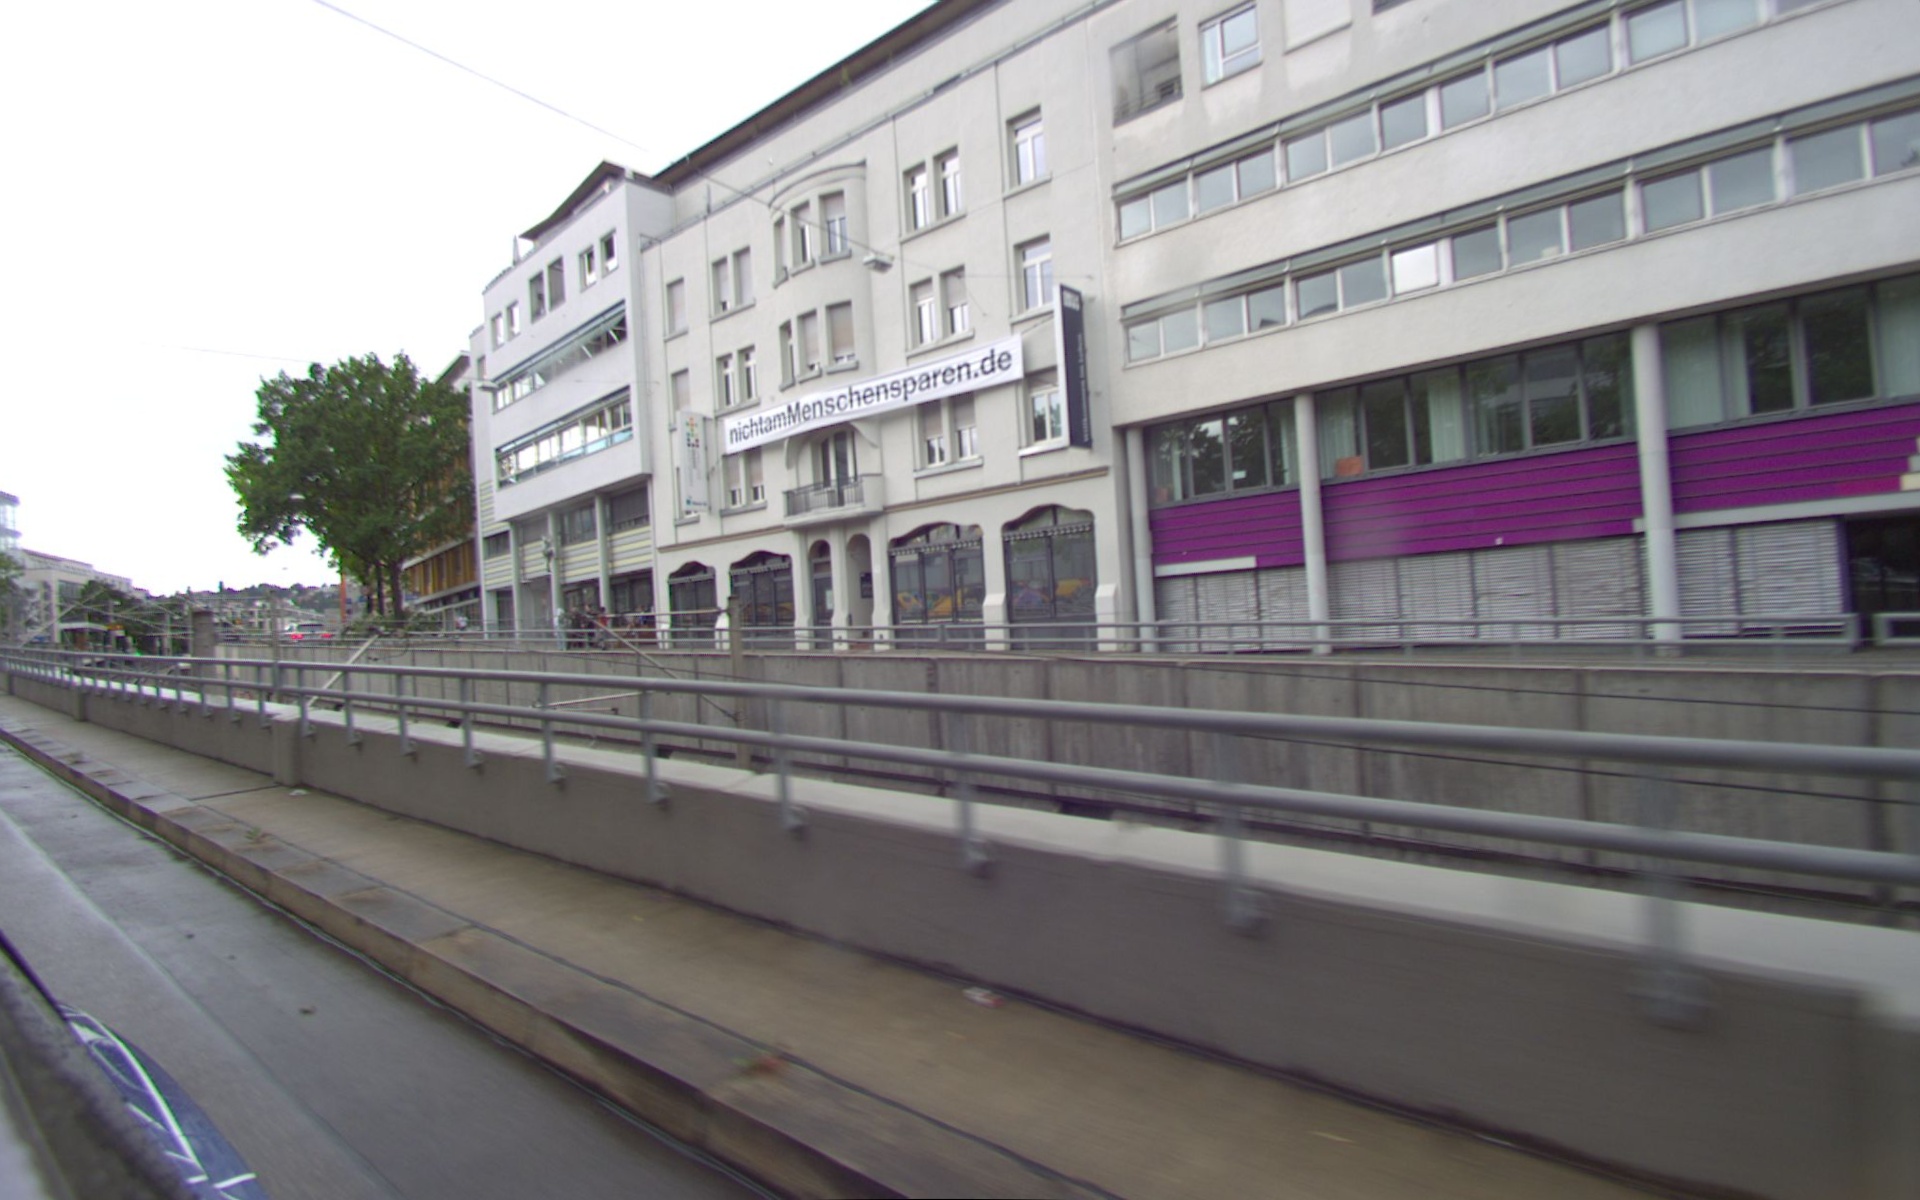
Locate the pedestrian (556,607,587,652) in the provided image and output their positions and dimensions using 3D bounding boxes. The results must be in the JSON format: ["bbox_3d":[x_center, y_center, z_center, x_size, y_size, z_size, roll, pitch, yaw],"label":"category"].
[{"bbox_3d":[-16.067,1.231,41.847,0.937,1.798,0.668,-3,-1,26],"label":"pedestrian"}]

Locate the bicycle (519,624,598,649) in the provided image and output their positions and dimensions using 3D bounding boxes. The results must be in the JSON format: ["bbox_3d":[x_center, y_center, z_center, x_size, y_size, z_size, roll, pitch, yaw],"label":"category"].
[{"bbox_3d":[-18.315,1.652,46.053,1.673,1.051,4.525,-1,0,-44],"label":"bicycle"}]

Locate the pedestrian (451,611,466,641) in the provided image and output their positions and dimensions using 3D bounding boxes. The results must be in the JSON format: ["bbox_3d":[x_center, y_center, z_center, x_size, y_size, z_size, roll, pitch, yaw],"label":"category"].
[{"bbox_3d":[-31.525,1.660,63.592,0.657,1.863,0.831,1,-3,-40],"label":"pedestrian"}]

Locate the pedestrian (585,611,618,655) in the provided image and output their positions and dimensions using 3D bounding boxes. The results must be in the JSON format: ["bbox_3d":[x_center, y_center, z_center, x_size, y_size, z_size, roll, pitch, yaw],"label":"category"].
[{"bbox_3d":[-13.875,1.283,39.164,0.937,1.628,0.668,-3,-1,26],"label":"pedestrian"}]

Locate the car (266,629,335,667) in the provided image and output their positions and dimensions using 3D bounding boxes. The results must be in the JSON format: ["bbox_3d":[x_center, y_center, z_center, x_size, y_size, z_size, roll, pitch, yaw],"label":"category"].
[{"bbox_3d":[-32.620,2.382,49.999,4.577,1.726,1.817,-3,-1,43],"label":"car"}]

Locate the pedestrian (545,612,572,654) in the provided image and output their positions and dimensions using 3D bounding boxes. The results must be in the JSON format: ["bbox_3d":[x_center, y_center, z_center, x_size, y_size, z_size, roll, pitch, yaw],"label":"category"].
[{"bbox_3d":[-16.126,1.318,40.658,0.784,1.655,0.674,-3,-1,-2],"label":"pedestrian"}]

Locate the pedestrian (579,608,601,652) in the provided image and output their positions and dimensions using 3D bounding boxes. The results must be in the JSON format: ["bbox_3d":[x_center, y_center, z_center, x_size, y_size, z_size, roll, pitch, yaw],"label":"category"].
[{"bbox_3d":[-15.056,1.214,41.186,0.601,1.735,0.673,-3,-1,1],"label":"pedestrian"}]

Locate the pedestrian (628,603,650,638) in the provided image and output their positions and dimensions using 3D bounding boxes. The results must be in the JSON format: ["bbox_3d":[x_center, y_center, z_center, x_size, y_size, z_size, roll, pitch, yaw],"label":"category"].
[{"bbox_3d":[-13.468,0.870,42.487,0.600,1.430,0.674,-2,-1,-44],"label":"pedestrian"}]
